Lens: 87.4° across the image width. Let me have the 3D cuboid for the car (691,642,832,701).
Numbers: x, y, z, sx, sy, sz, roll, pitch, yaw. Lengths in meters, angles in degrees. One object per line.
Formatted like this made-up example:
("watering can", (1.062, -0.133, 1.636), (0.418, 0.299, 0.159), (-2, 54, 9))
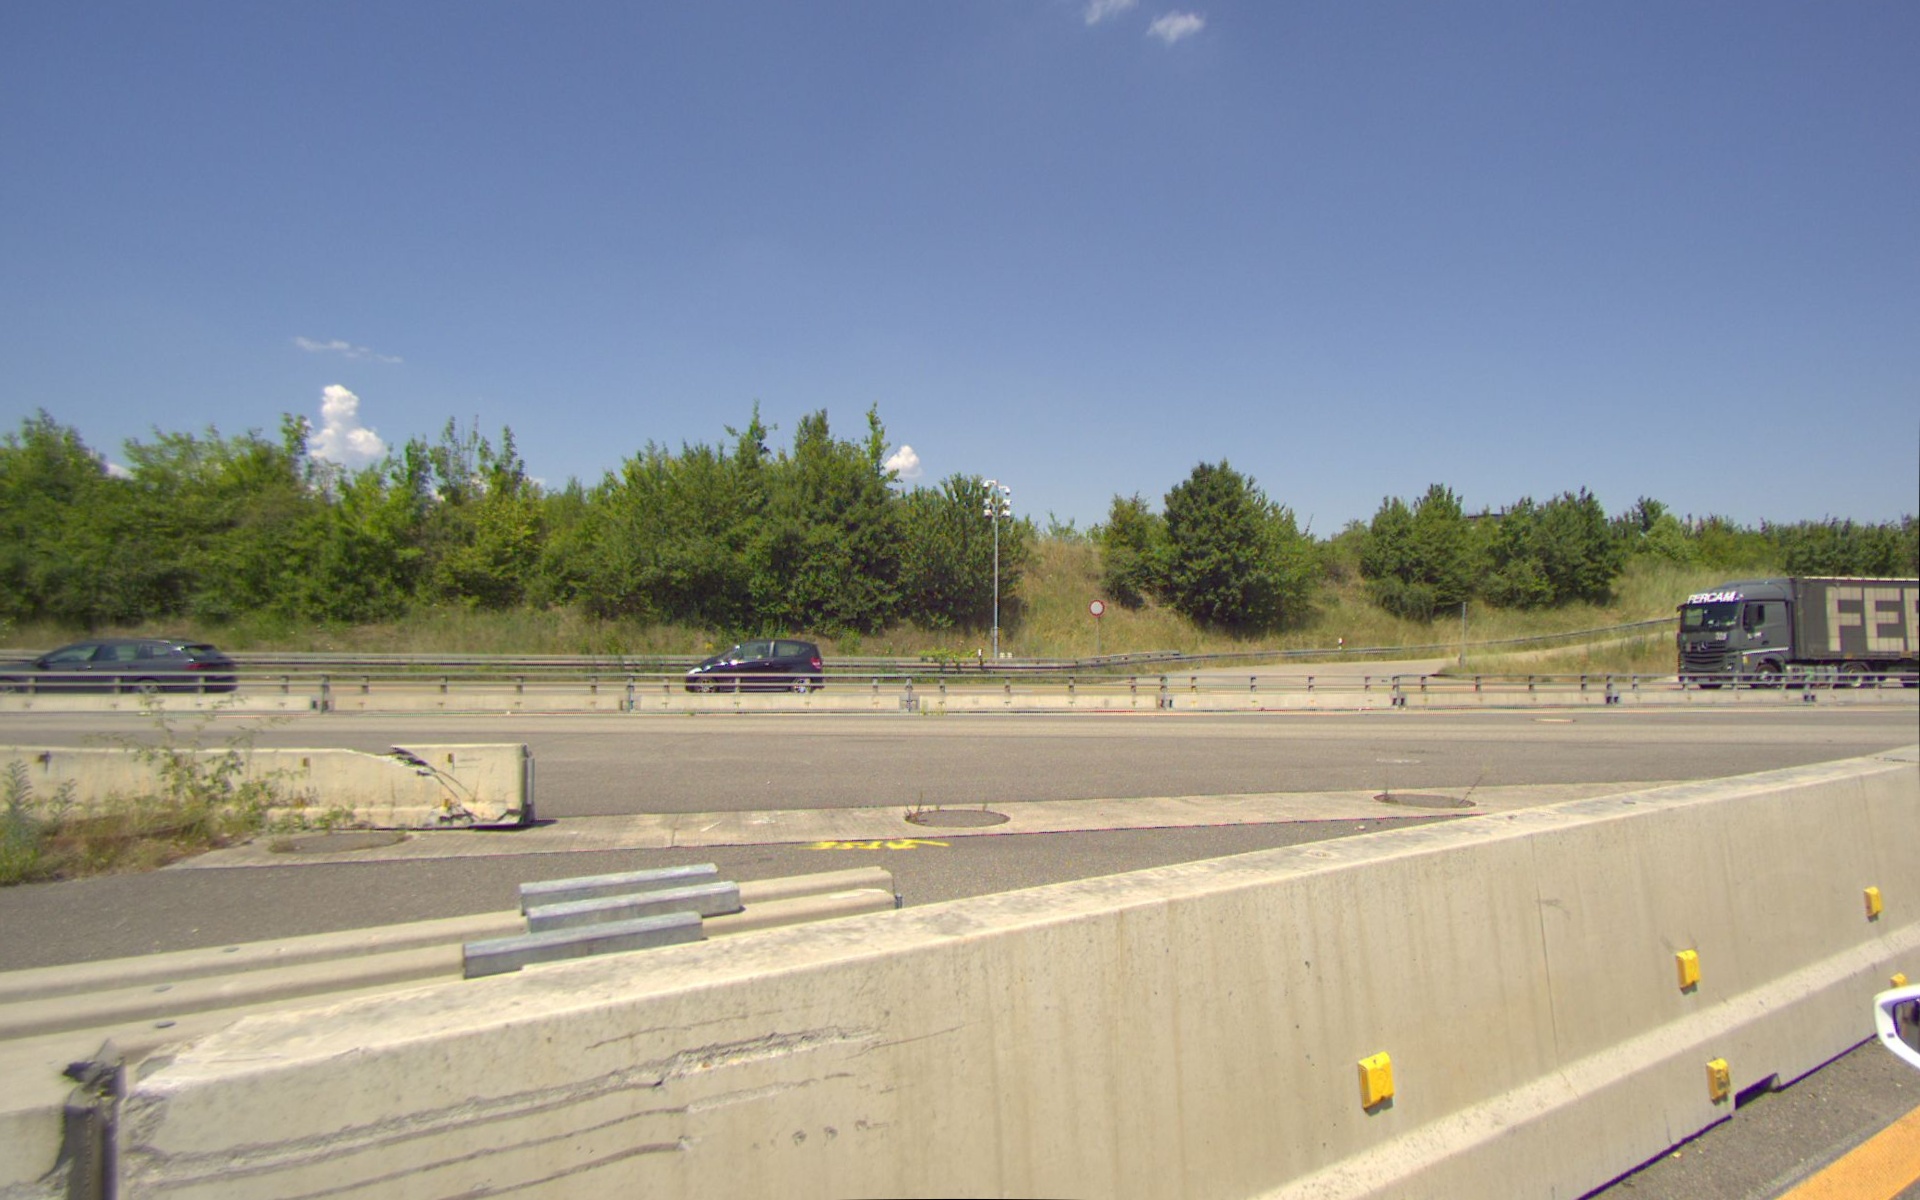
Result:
("car", (-5.399, 1.946, 27.448), (3.623, 1.511, 1.718), (1, -1, -12))

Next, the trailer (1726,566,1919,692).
("trailer", (35.197, 1.147, 37.303), (13.565, 4.353, 2.439), (1, -1, -12))

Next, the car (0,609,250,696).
("car", (-18.285, 1.117, 21.770), (4.372, 1.753, 1.700), (1, -1, -11))

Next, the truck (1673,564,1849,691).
("truck", (28.617, 1.002, 35.962), (4.753, 4.326, 2.434), (1, -1, -11))
